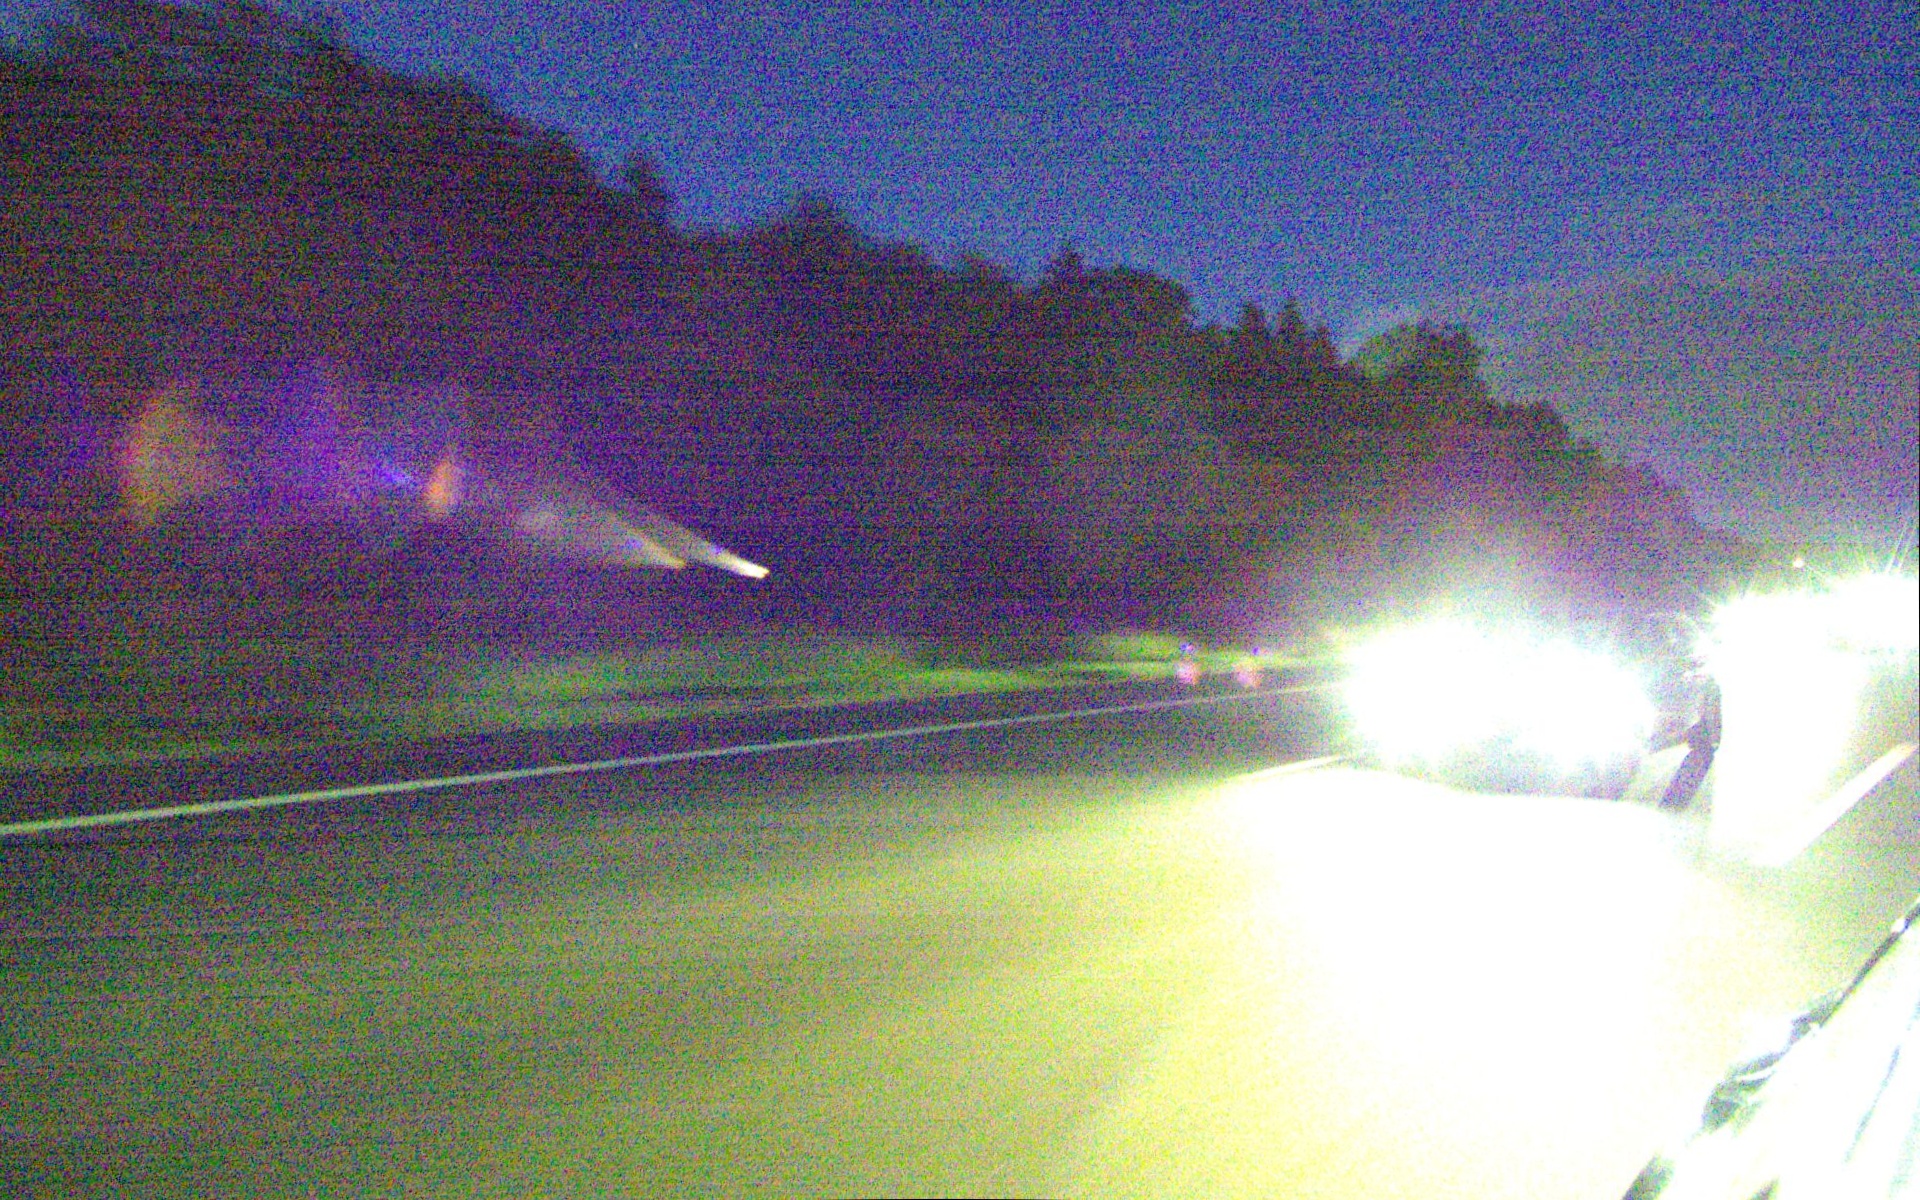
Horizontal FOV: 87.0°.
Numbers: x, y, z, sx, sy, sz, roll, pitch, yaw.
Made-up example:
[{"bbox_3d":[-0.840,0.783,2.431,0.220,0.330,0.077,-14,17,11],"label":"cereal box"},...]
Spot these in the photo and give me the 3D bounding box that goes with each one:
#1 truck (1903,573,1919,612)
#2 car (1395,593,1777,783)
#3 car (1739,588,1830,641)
[{"bbox_3d":[112.431,-0.880,117.914,3.334,4.489,6.891,0,0,41],"label":"truck"},{"bbox_3d":[6.323,0.664,9.924,4.981,1.419,1.838,0,0,-41],"label":"car"},{"bbox_3d":[29.451,0.483,36.083,5.083,1.739,1.995,0,0,-45],"label":"car"}]
